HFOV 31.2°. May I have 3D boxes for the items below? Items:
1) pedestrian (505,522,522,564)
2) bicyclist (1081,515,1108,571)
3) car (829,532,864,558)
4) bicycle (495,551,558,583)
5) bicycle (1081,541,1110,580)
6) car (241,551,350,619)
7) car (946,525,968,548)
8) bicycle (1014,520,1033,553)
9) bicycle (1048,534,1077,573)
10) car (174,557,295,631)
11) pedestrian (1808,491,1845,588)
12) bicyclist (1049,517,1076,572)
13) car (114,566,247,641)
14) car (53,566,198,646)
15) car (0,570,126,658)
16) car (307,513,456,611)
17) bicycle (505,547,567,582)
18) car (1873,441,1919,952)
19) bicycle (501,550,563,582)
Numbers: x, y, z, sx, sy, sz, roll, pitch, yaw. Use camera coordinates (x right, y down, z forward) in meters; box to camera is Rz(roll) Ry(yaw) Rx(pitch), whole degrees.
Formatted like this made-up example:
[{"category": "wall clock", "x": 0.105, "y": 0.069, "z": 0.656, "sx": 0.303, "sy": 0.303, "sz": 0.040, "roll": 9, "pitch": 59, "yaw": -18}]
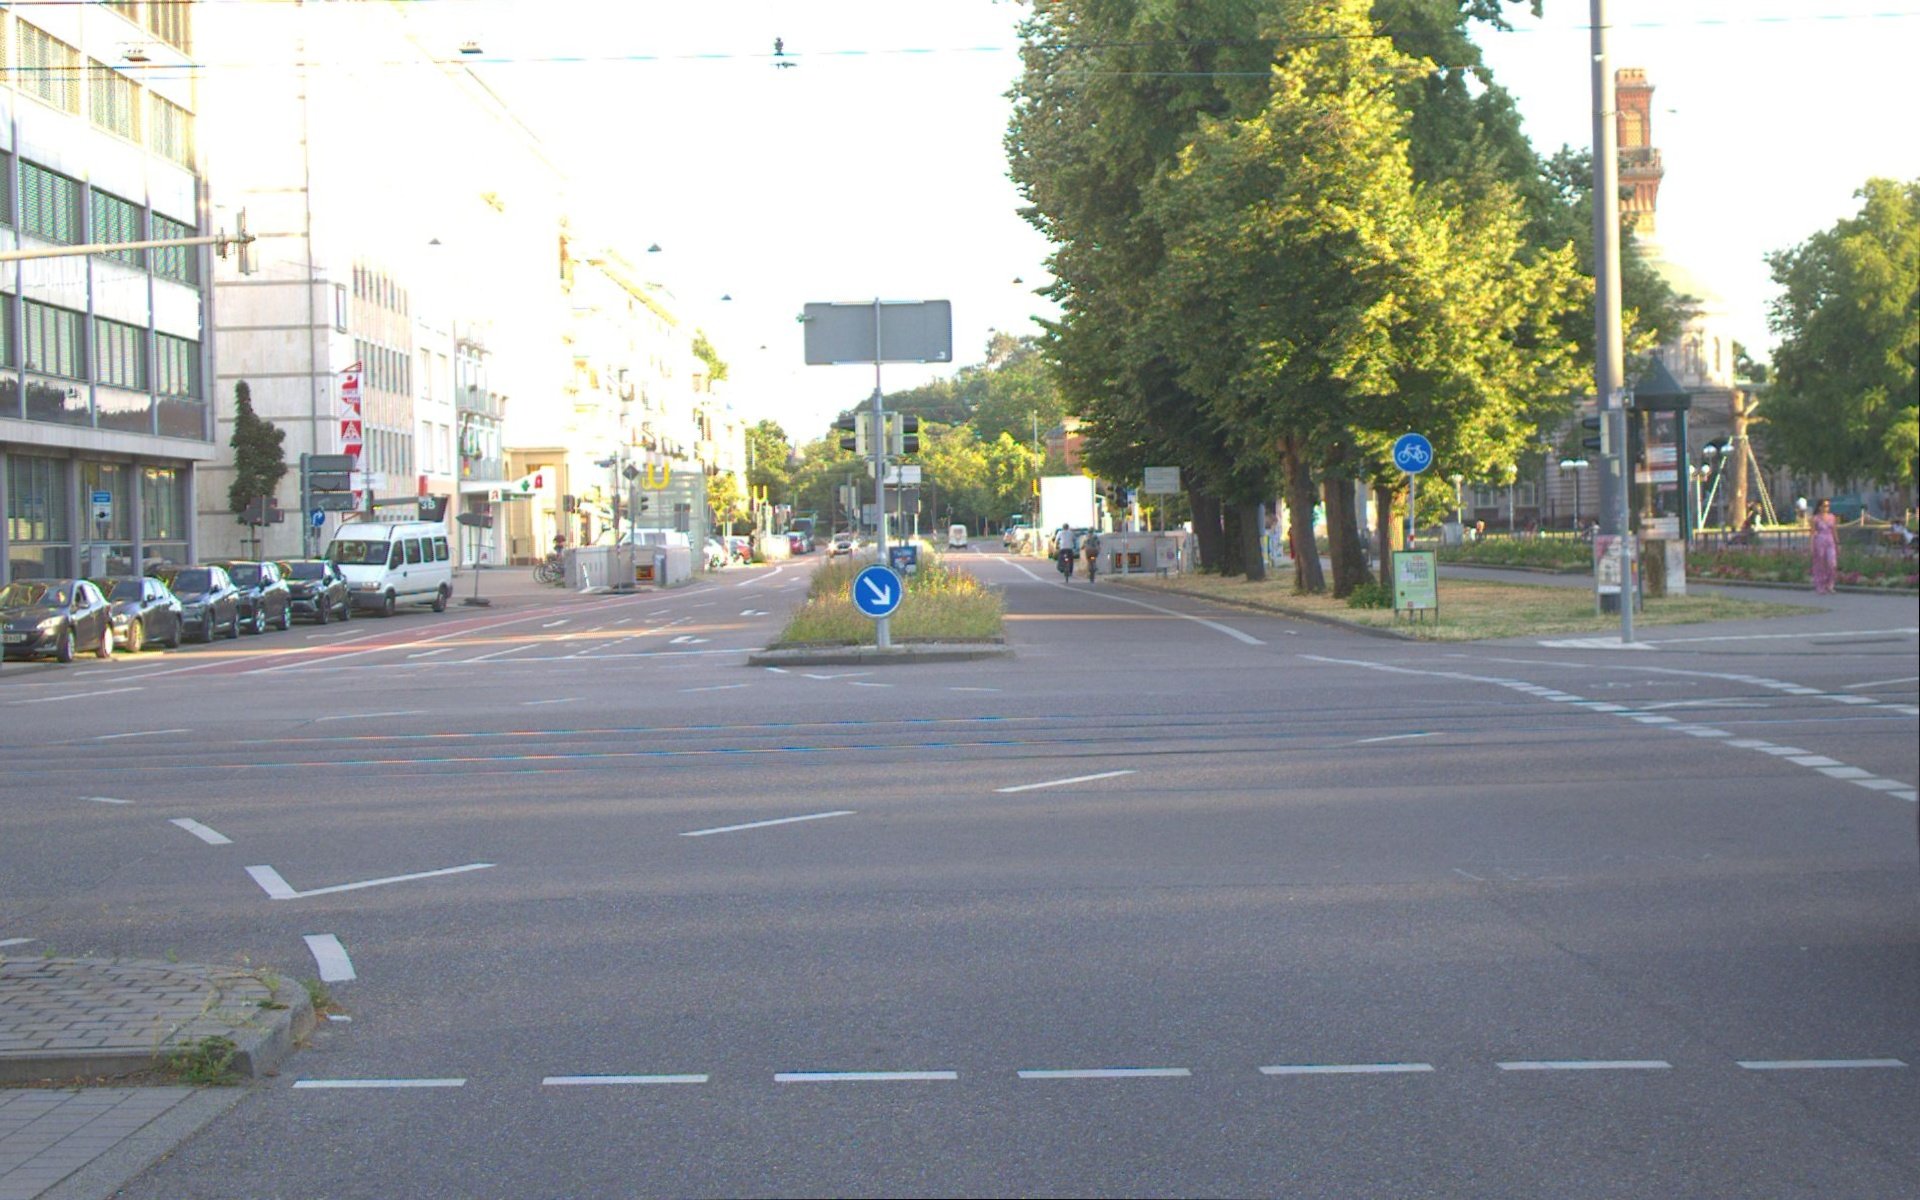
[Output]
[{"category": "pedestrian", "x": -21.397, "y": -2.744, "z": 164.836, "sx": 0.680, "sy": 2.007, "sz": 0.545, "roll": -2, "pitch": 1, "yaw": 0}, {"category": "bicyclist", "x": 4.117, "y": -1.727, "z": 104.950, "sx": 0.746, "sy": 1.685, "sz": 0.799, "roll": -2, "pitch": 1, "yaw": -1}, {"category": "car", "x": -6.817, "y": -3.306, "z": 206.905, "sx": 1.863, "sy": 1.514, "sz": 4.000, "roll": -1, "pitch": 1, "yaw": 1}, {"category": "bicycle", "x": -15.831, "y": -1.221, "z": 125.495, "sx": 2.205, "sy": 1.108, "sz": 0.619, "roll": -2, "pitch": 1, "yaw": -2}, {"category": "bicycle", "x": 4.133, "y": -1.220, "z": 104.957, "sx": 0.746, "sy": 1.140, "sz": 2.505, "roll": -2, "pitch": 1, "yaw": -1}, {"category": "car", "x": -16.354, "y": -0.384, "z": 84.785, "sx": 1.920, "sy": 1.563, "sz": 4.000, "roll": -2, "pitch": 1, "yaw": -1}, {"category": "car", "x": -0.195, "y": -4.561, "z": 245.981, "sx": 1.408, "sy": 1.636, "sz": 4.000, "roll": -2, "pitch": 1, "yaw": -2}, {"category": "bicycle", "x": 3.869, "y": -3.864, "z": 208.814, "sx": 1.002, "sy": 2.007, "sz": 4.000, "roll": -1, "pitch": 1, "yaw": 0}, {"category": "bicycle", "x": 3.135, "y": -1.423, "z": 105.152, "sx": 0.746, "sy": 1.140, "sz": 2.505, "roll": -2, "pitch": 1, "yaw": -1}, {"category": "car", "x": -16.552, "y": -0.150, "z": 78.559, "sx": 1.920, "sy": 1.563, "sz": 4.000, "roll": -2, "pitch": 1, "yaw": -1}, {"category": "pedestrian", "x": 14.886, "y": -1.036, "z": 59.062, "sx": 0.460, "sy": 1.651, "sz": 0.567, "roll": -1, "pitch": 1, "yaw": -1}, {"category": "bicyclist", "x": 3.119, "y": -1.685, "z": 104.812, "sx": 0.746, "sy": 1.658, "sz": 0.873, "roll": -2, "pitch": 1, "yaw": -1}, {"category": "car", "x": -16.574, "y": 0.053, "z": 73.257, "sx": 1.920, "sy": 1.459, "sz": 4.000, "roll": -2, "pitch": 1, "yaw": -1}, {"category": "car", "x": -16.571, "y": 0.102, "z": 68.443, "sx": 1.920, "sy": 1.459, "sz": 4.000, "roll": -2, "pitch": 1, "yaw": -1}, {"category": "car", "x": -16.482, "y": 0.233, "z": 61.947, "sx": 1.920, "sy": 1.459, "sz": 4.103, "roll": -2, "pitch": 1, "yaw": -1}, {"category": "car", "x": -15.294, "y": -1.054, "z": 91.235, "sx": 2.002, "sy": 2.469, "sz": 5.865, "roll": -1, "pitch": 1, "yaw": 10}, {"category": "bicycle", "x": -15.900, "y": -1.337, "z": 128.889, "sx": 2.205, "sy": 1.232, "sz": 0.839, "roll": -2, "pitch": 1, "yaw": -2}, {"category": "car", "x": 4.459, "y": 0.391, "z": 11.027, "sx": 1.763, "sy": 1.882, "sz": 4.500, "roll": 0, "pitch": 1, "yaw": -1}, {"category": "bicycle", "x": -15.819, "y": -1.267, "z": 127.030, "sx": 2.205, "sy": 1.108, "sz": 0.689, "roll": -2, "pitch": 1, "yaw": -2}]
